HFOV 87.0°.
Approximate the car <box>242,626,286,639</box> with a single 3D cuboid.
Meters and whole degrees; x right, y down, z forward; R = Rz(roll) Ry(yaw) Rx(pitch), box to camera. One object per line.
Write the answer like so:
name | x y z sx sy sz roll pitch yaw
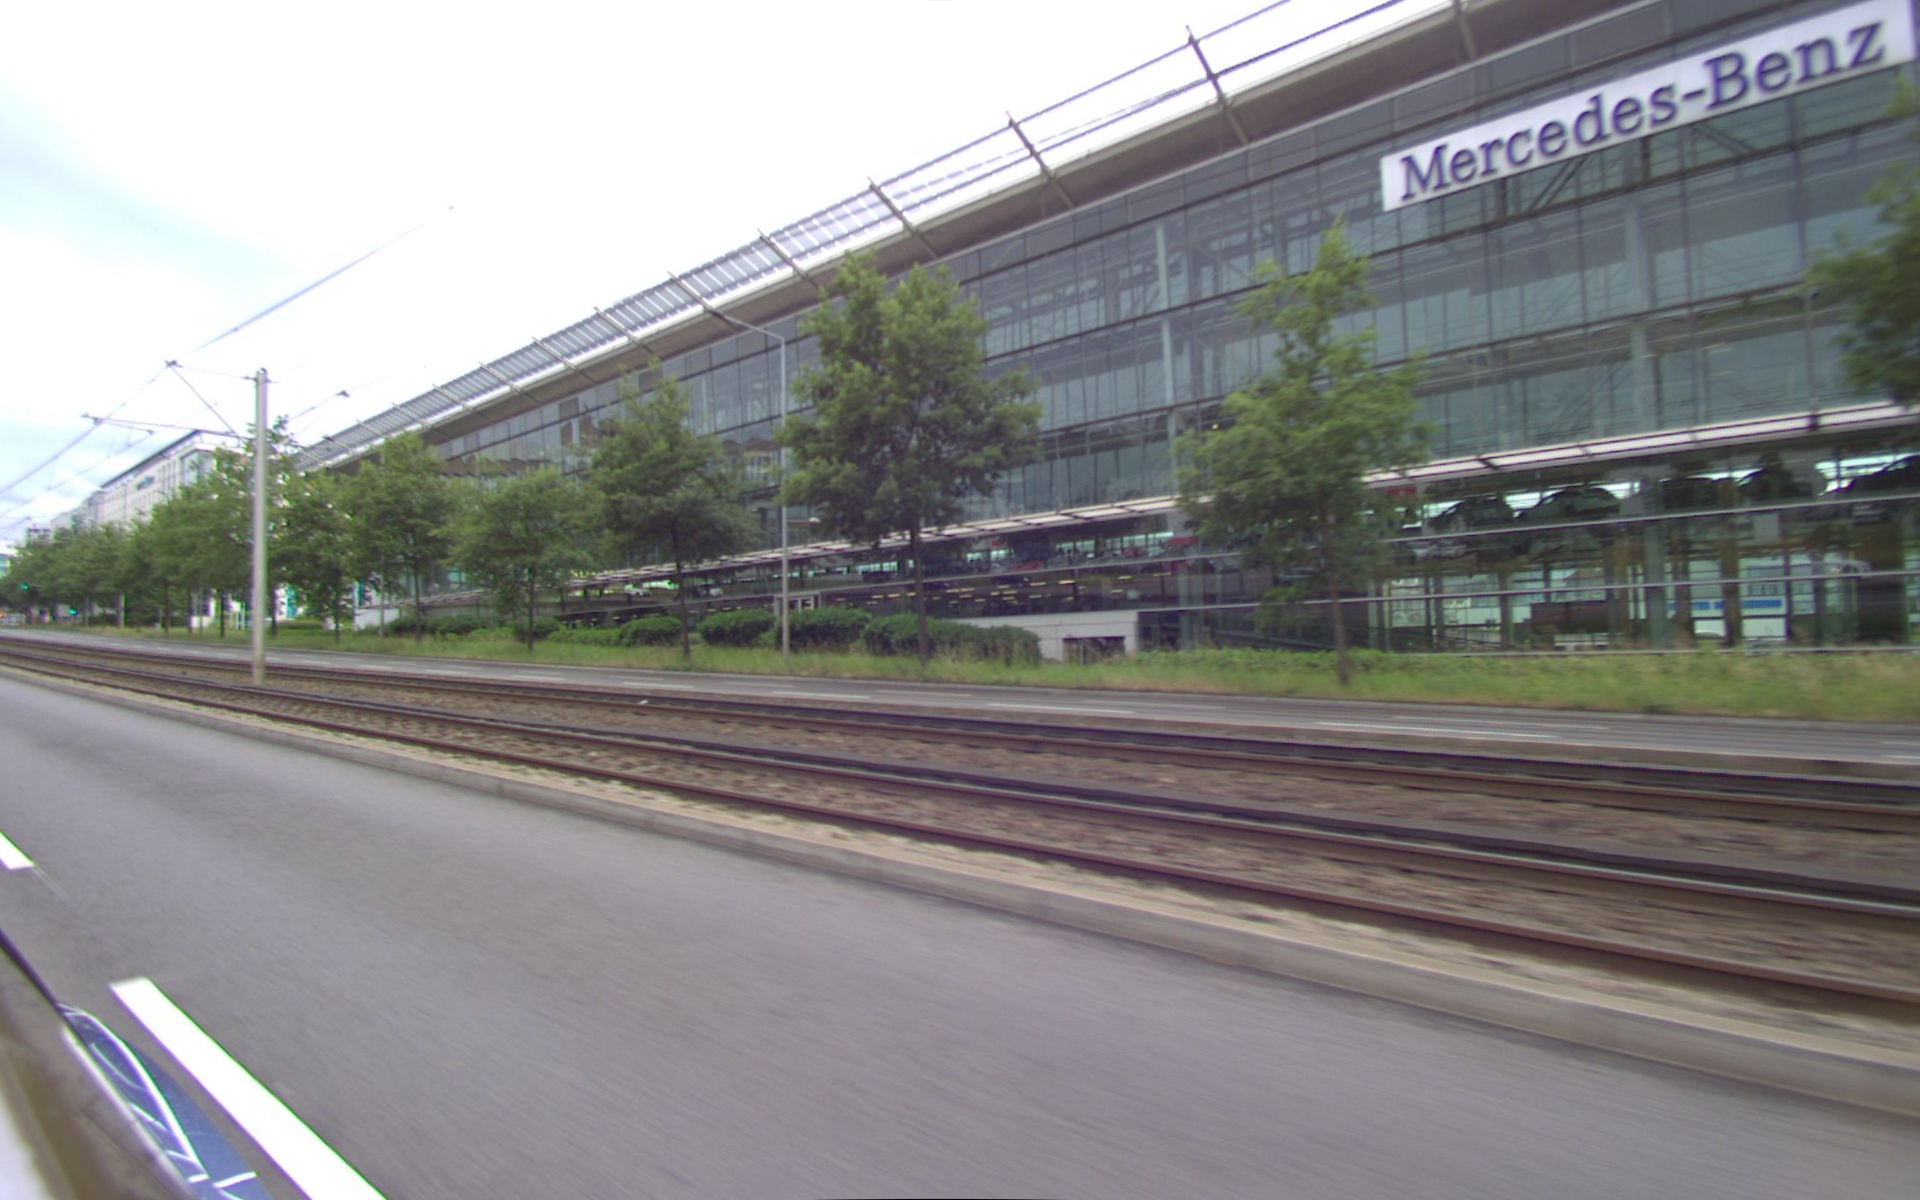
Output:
car | -80.209 3.708 116.725 3.930 1.401 1.809 0 0 -23
